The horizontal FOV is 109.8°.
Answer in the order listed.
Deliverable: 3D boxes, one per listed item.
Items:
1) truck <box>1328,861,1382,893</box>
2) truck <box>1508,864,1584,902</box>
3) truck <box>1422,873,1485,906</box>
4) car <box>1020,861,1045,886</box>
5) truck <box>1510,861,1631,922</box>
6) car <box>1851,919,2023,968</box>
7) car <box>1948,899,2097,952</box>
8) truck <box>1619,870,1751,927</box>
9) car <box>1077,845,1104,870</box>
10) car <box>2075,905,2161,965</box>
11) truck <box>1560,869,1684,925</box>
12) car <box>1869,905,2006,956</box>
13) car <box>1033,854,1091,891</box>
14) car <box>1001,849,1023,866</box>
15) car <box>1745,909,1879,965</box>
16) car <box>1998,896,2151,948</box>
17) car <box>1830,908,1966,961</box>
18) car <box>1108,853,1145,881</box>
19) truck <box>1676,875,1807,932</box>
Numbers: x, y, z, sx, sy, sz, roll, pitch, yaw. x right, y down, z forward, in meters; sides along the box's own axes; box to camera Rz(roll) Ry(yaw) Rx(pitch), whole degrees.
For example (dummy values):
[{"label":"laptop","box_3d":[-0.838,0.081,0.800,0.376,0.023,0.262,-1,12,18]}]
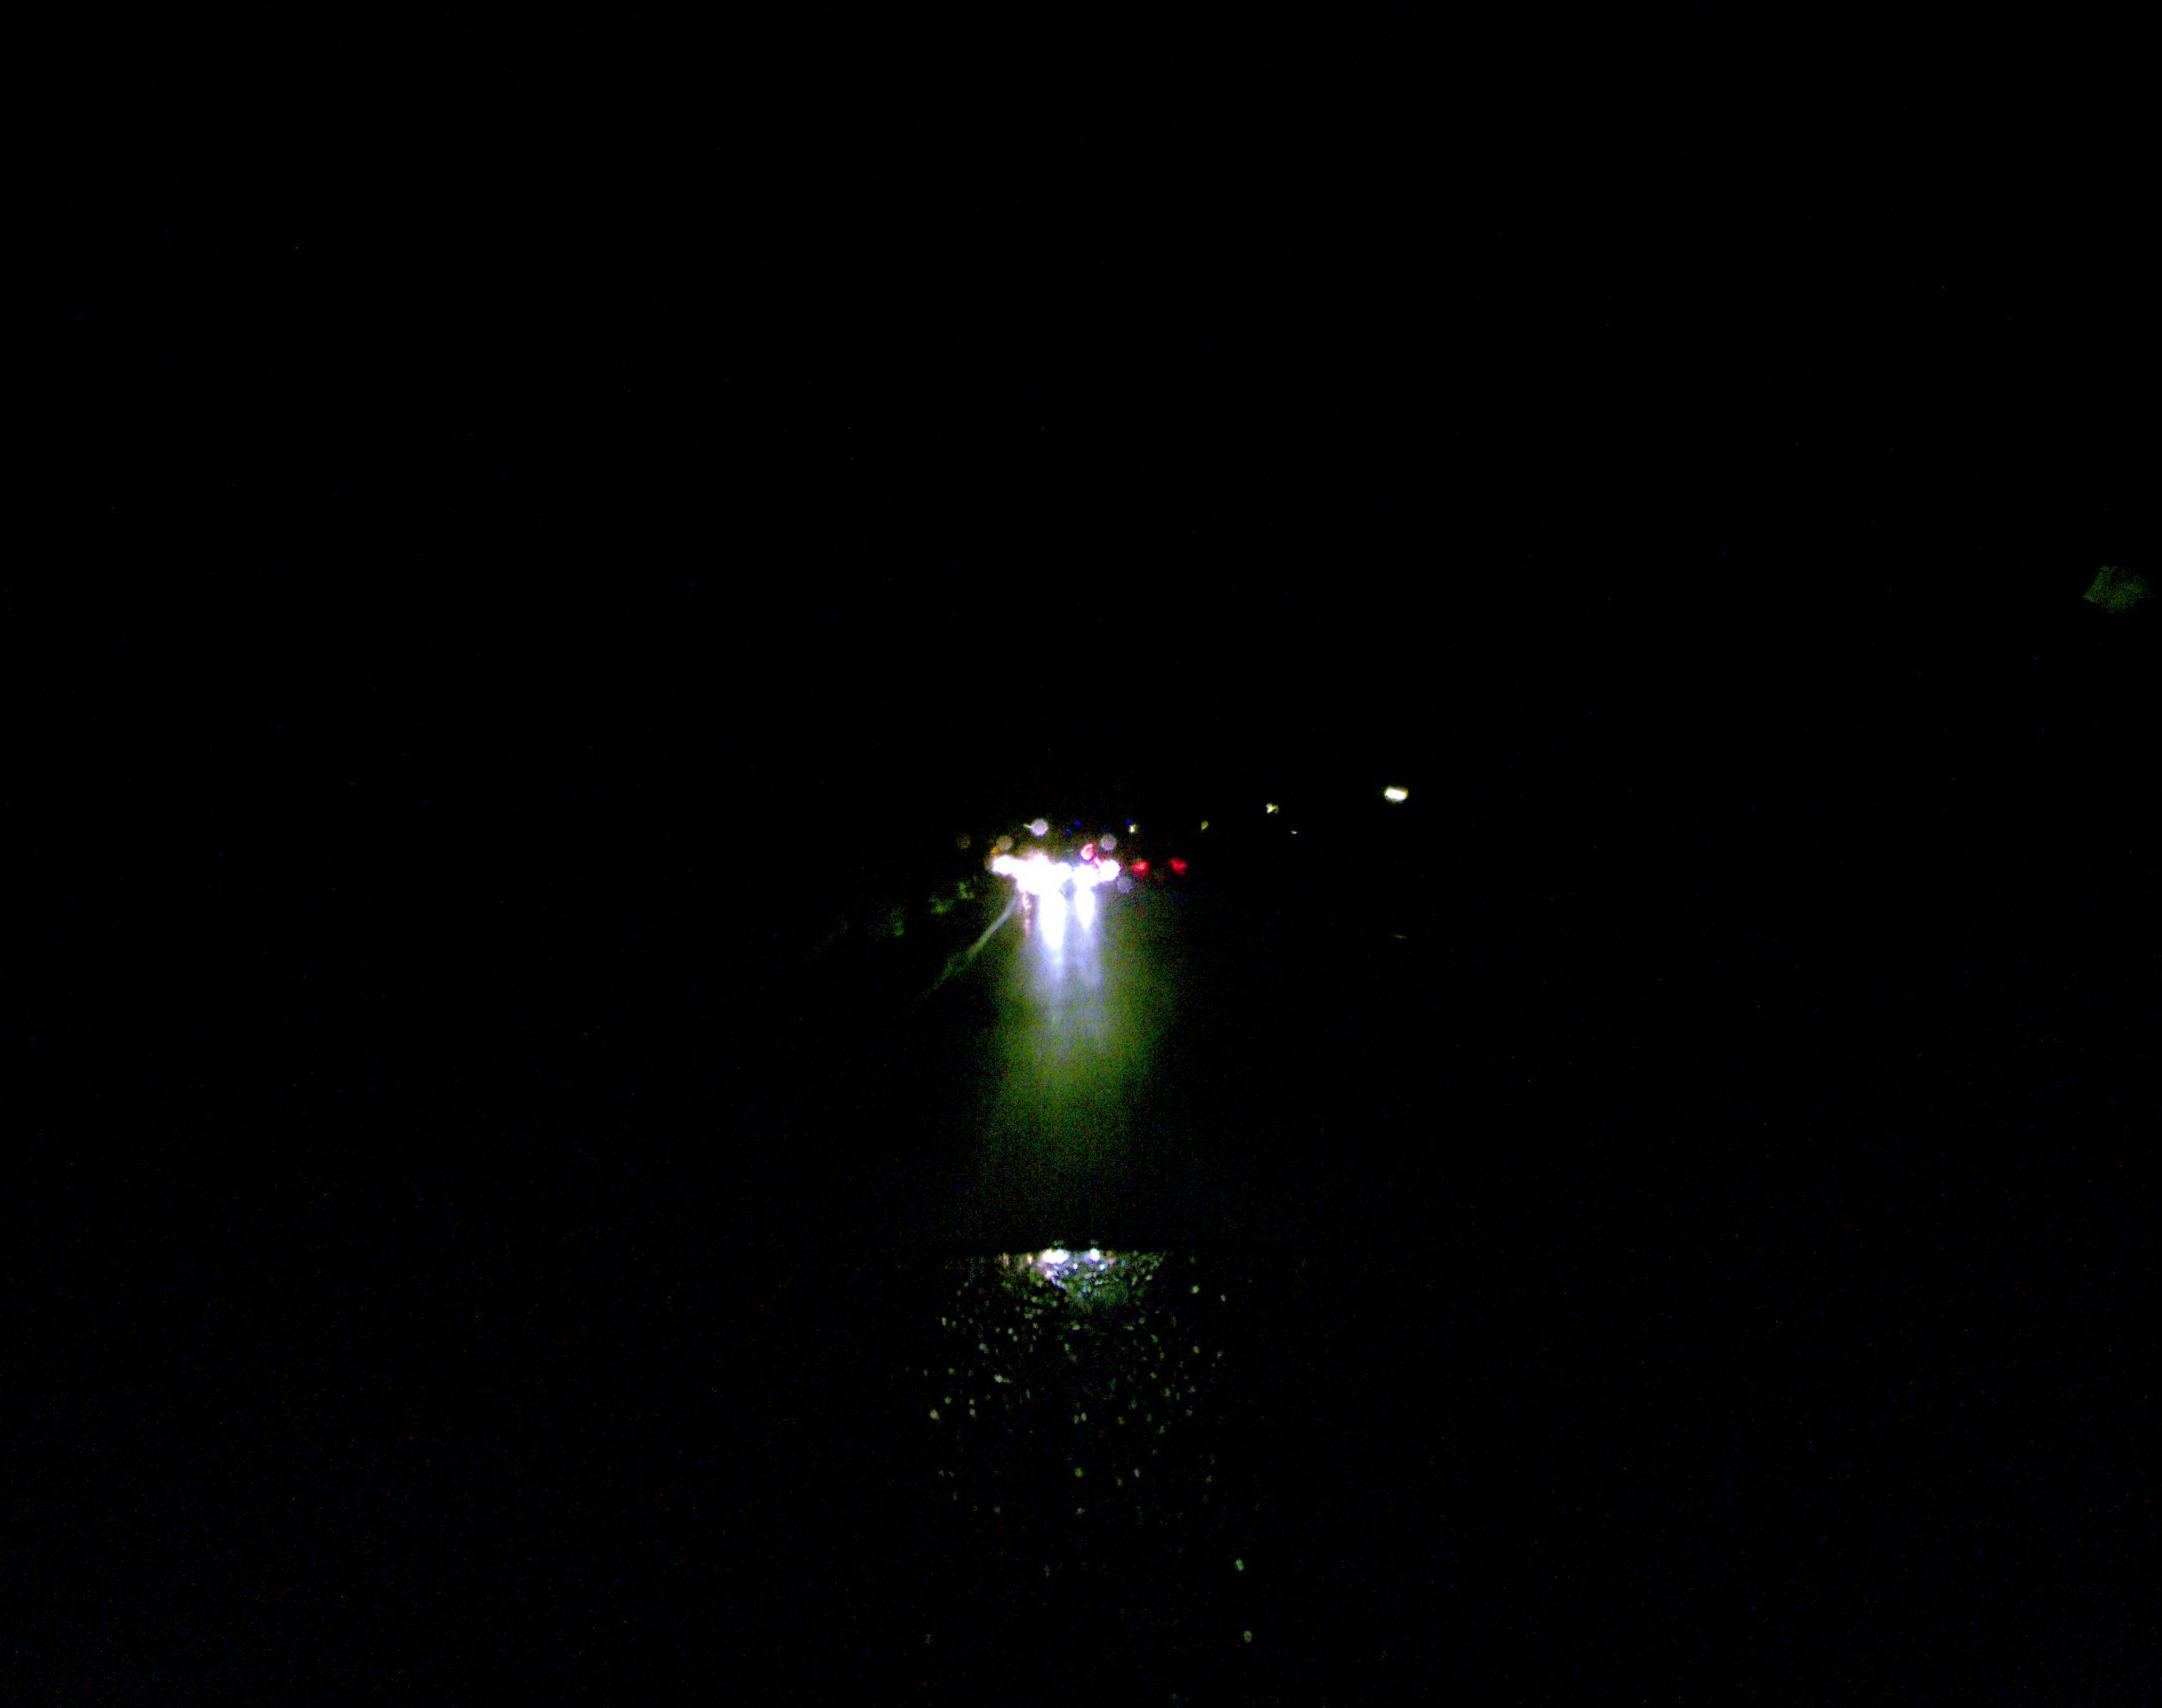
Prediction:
[{"label":"truck","box_3d":[25.092,2.073,69.983,2.173,2.504,6.868,4,1,-1]},{"label":"truck","box_3d":[43.012,2.601,70.570,2.175,3.028,6.690,4,1,-7]},{"label":"truck","box_3d":[34.417,3.256,70.451,2.173,2.504,6.868,4,1,-1]},{"label":"car","box_3d":[-4.293,1.697,66.727,1.900,2.002,3.997,-2,1,-8]},{"label":"truck","box_3d":[32.311,2.374,50.586,2.475,3.460,7.044,4,1,-9]},{"label":"car","box_3d":[29.426,3.071,26.182,3.999,1.194,1.846,4,1,-5]},{"label":"car","box_3d":[43.625,3.253,35.345,1.740,2.002,3.995,-2,0,-14]},{"label":"truck","box_3d":[41.299,2.966,52.295,2.443,3.241,7.043,4,1,-10]},{"label":"car","box_3d":[0.764,0.264,65.166,1.897,1.991,4.879,-3,0,-4]},{"label":"car","box_3d":[36.641,2.753,26.374,4.006,1.630,1.996,-2,0,-29]},{"label":"truck","box_3d":[36.605,2.814,51.782,2.443,3.080,7.043,4,1,-10]},{"label":"car","box_3d":[38.573,3.397,34.353,1.723,1.896,3.719,-2,0,-13]},{"label":"car","box_3d":[-0.964,0.797,35.224,2.000,1.584,4.604,0,0,-10]},{"label":"car","box_3d":[-7.571,0.330,83.161,1.710,1.762,3.994,-2,1,-15]},{"label":"car","box_3d":[30.692,3.412,32.040,1.723,1.896,3.719,-2,0,-13]},{"label":"car","box_3d":[46.375,3.102,35.597,1.740,2.002,3.995,-2,0,-14]},{"label":"car","box_3d":[36.037,3.487,33.650,1.723,1.896,3.719,-2,0,-13]},{"label":"car","box_3d":[2.503,0.673,42.552,1.595,1.372,4.323,-2,1,-3]},{"label":"truck","box_3d":[45.598,3.334,52.749,2.443,3.241,6.559,4,1,-10]}]
